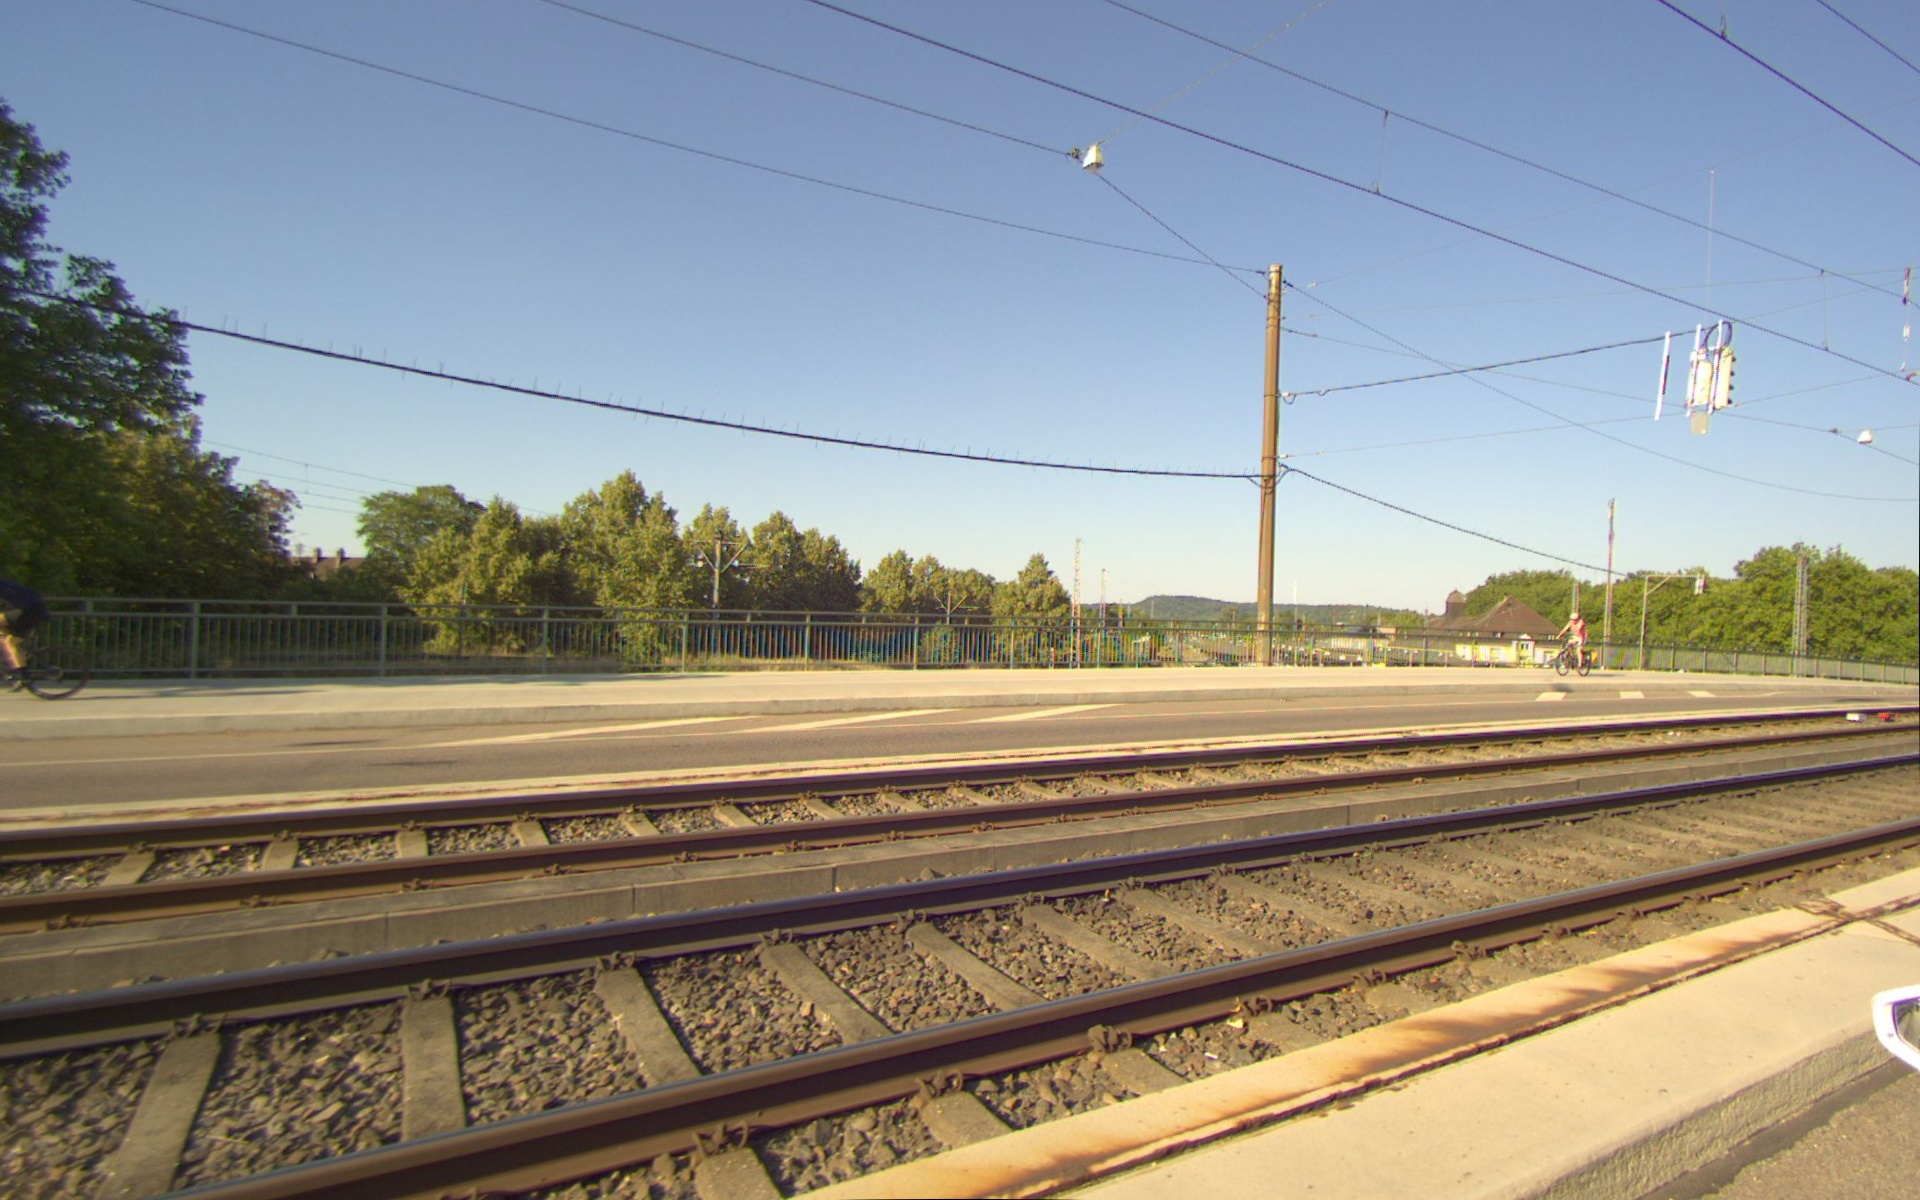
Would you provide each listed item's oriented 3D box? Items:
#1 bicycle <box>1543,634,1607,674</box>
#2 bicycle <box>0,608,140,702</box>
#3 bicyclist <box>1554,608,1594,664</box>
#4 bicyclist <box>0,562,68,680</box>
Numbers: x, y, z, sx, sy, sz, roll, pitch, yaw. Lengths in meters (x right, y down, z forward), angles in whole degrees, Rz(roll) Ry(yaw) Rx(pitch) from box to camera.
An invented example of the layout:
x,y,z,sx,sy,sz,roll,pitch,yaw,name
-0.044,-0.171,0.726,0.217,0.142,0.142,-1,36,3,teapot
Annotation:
x,y,z,sx,sy,sz,roll,pitch,yaw,name
18.786,1.658,30.680,2.232,1.137,0.622,3,0,-29,bicycle
-11.865,0.684,12.669,2.233,1.137,0.622,3,0,-30,bicycle
18.737,1.108,30.642,0.924,1.655,0.622,2,0,-29,bicyclist
-11.952,0.257,12.610,0.957,1.451,0.622,3,0,-30,bicyclist
